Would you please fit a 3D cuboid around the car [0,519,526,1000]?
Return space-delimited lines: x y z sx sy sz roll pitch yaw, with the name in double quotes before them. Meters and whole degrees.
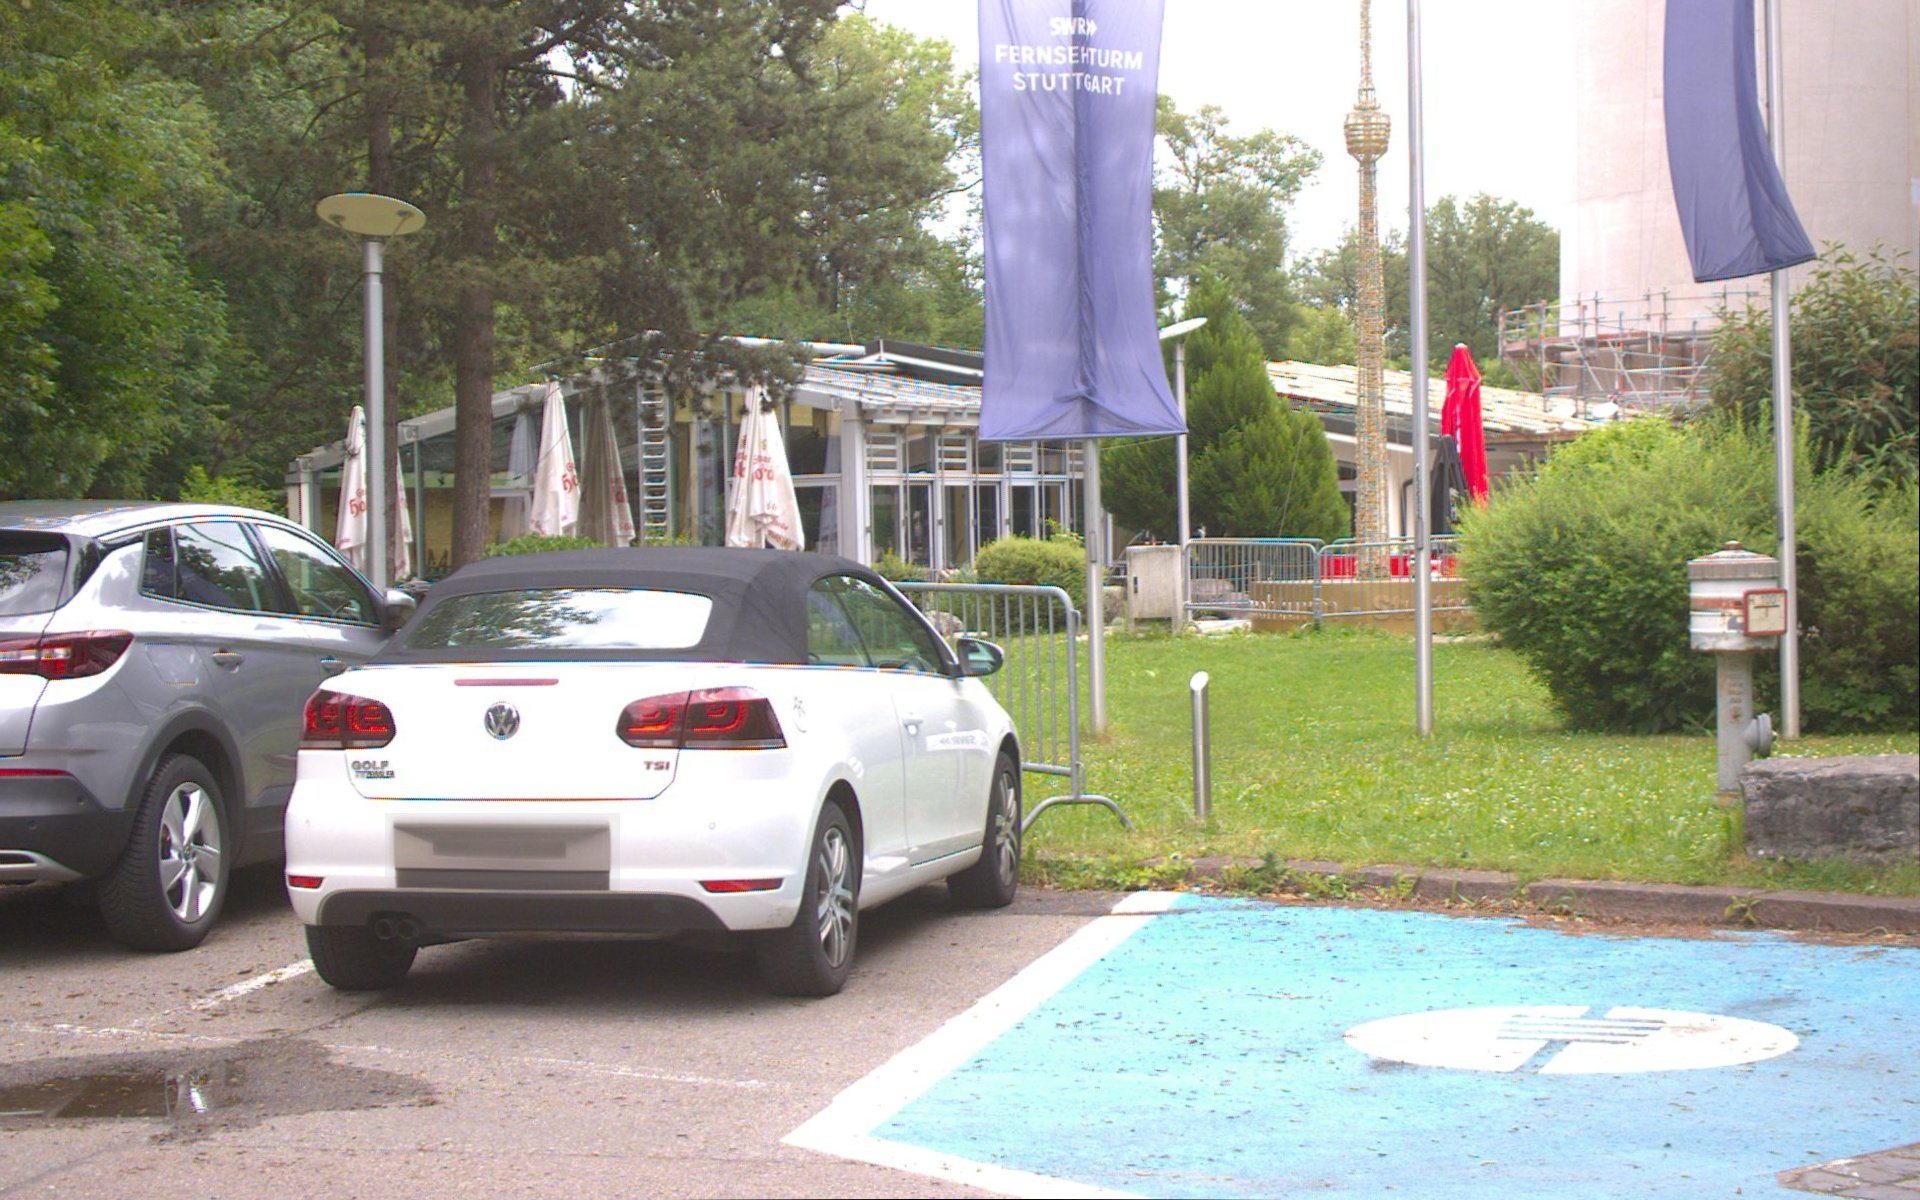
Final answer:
"car" -3.302 0.480 13.436 1.894 1.579 3.998 0 1 13

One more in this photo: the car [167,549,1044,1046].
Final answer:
"car" -1.039 0.552 12.222 1.894 1.423 3.998 0 1 13
